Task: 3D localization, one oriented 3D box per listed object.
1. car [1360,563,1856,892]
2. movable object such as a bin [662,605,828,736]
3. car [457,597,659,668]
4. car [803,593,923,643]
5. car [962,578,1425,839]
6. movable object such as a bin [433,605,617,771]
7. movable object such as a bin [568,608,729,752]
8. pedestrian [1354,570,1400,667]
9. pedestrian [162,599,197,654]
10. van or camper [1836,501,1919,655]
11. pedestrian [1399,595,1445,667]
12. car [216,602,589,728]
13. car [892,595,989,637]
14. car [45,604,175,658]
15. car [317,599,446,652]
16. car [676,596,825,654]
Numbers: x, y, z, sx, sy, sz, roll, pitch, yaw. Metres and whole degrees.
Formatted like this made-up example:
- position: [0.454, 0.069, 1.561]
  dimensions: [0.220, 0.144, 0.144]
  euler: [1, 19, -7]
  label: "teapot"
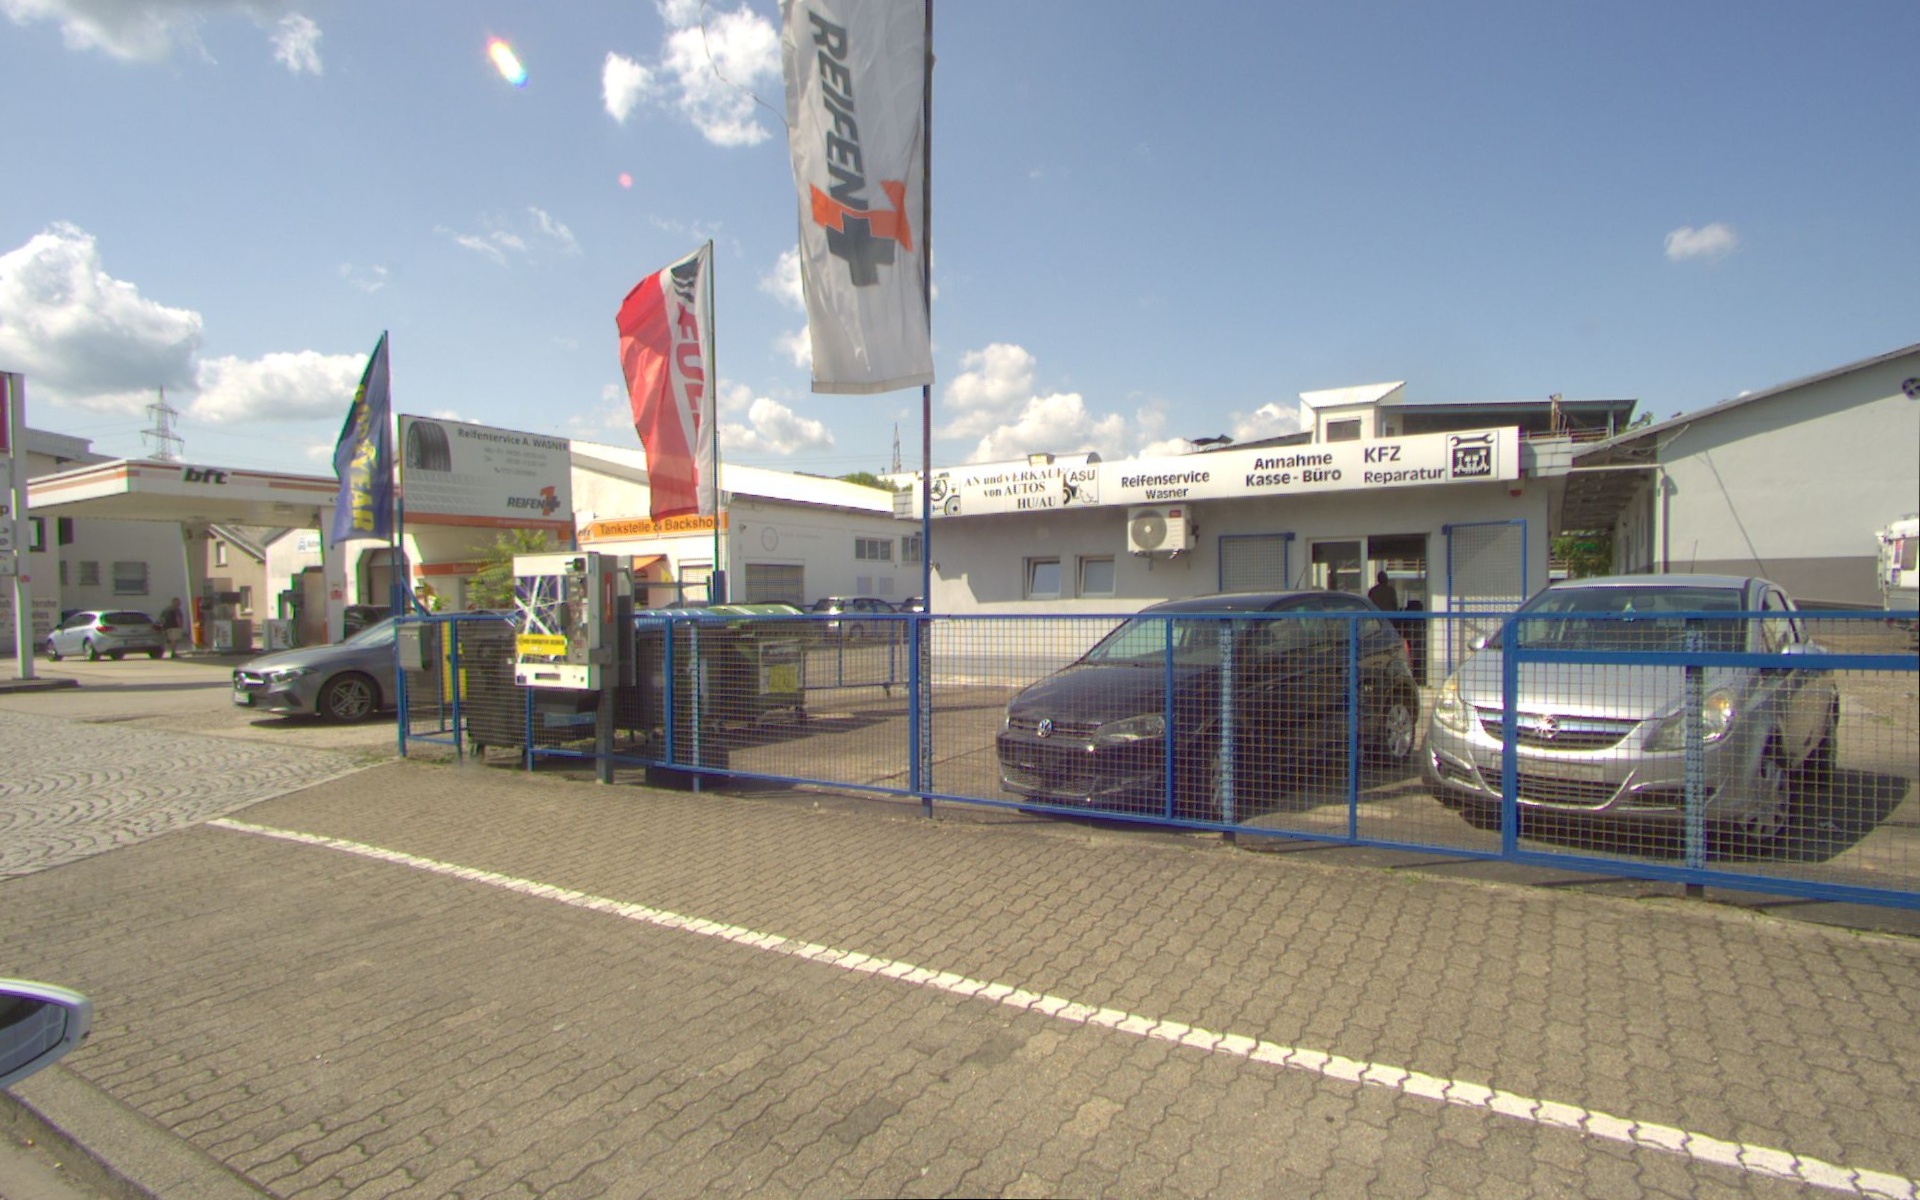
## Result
- position: [4.273, 0.560, 6.381]
  dimensions: [3.729, 1.472, 1.757]
  euler: [-1, 0, -42]
  label: "car"
- position: [-2.532, 0.781, 11.903]
  dimensions: [1.318, 1.414, 1.400]
  euler: [0, 1, 31]
  label: "movable object such as a bin"
- position: [-9.164, 0.687, 23.164]
  dimensions: [1.564, 1.482, 4.187]
  euler: [0, 0, 33]
  label: "car"
- position: [-3.014, 0.525, 32.051]
  dimensions: [1.564, 1.482, 4.187]
  euler: [0, 0, 33]
  label: "car"
- position: [1.898, 0.601, 7.485]
  dimensions: [3.655, 1.472, 1.625]
  euler: [-1, 0, -43]
  label: "car"
- position: [-4.158, 0.785, 9.607]
  dimensions: [1.225, 1.455, 1.106]
  euler: [0, 1, 31]
  label: "movable object such as a bin"
- position: [-3.326, 0.801, 10.738]
  dimensions: [1.225, 1.415, 1.106]
  euler: [0, 1, 31]
  label: "movable object such as a bin"
- position: [7.353, 0.318, 17.646]
  dimensions: [0.654, 1.671, 0.563]
  euler: [0, 1, 34]
  label: "pedestrian"
- position: [-23.775, 0.798, 30.516]
  dimensions: [0.698, 1.679, 0.546]
  euler: [-1, 1, -22]
  label: "pedestrian"
- position: [21.016, -0.454, 19.529]
  dimensions: [5.571, 3.005, 2.264]
  euler: [0, 1, 31]
  label: "van or camper"
- position: [8.047, 0.532, 17.439]
  dimensions: [0.654, 1.225, 0.563]
  euler: [0, 1, 34]
  label: "pedestrian"
- position: [-7.549, 0.776, 13.966]
  dimensions: [1.652, 1.434, 4.257]
  euler: [0, 0, 37]
  label: "car"
- position: [-0.638, 0.532, 35.736]
  dimensions: [1.564, 1.385, 3.860]
  euler: [0, 0, 33]
  label: "car"
- position: [-25.736, 0.898, 30.306]
  dimensions: [3.776, 1.523, 1.803]
  euler: [0, 0, 30]
  label: "car"
- position: [-17.783, 0.750, 30.767]
  dimensions: [3.777, 1.523, 1.803]
  euler: [0, 0, 31]
  label: "car"
- position: [-5.717, 0.640, 27.819]
  dimensions: [1.564, 1.482, 4.187]
  euler: [0, 0, 33]
  label: "car"
